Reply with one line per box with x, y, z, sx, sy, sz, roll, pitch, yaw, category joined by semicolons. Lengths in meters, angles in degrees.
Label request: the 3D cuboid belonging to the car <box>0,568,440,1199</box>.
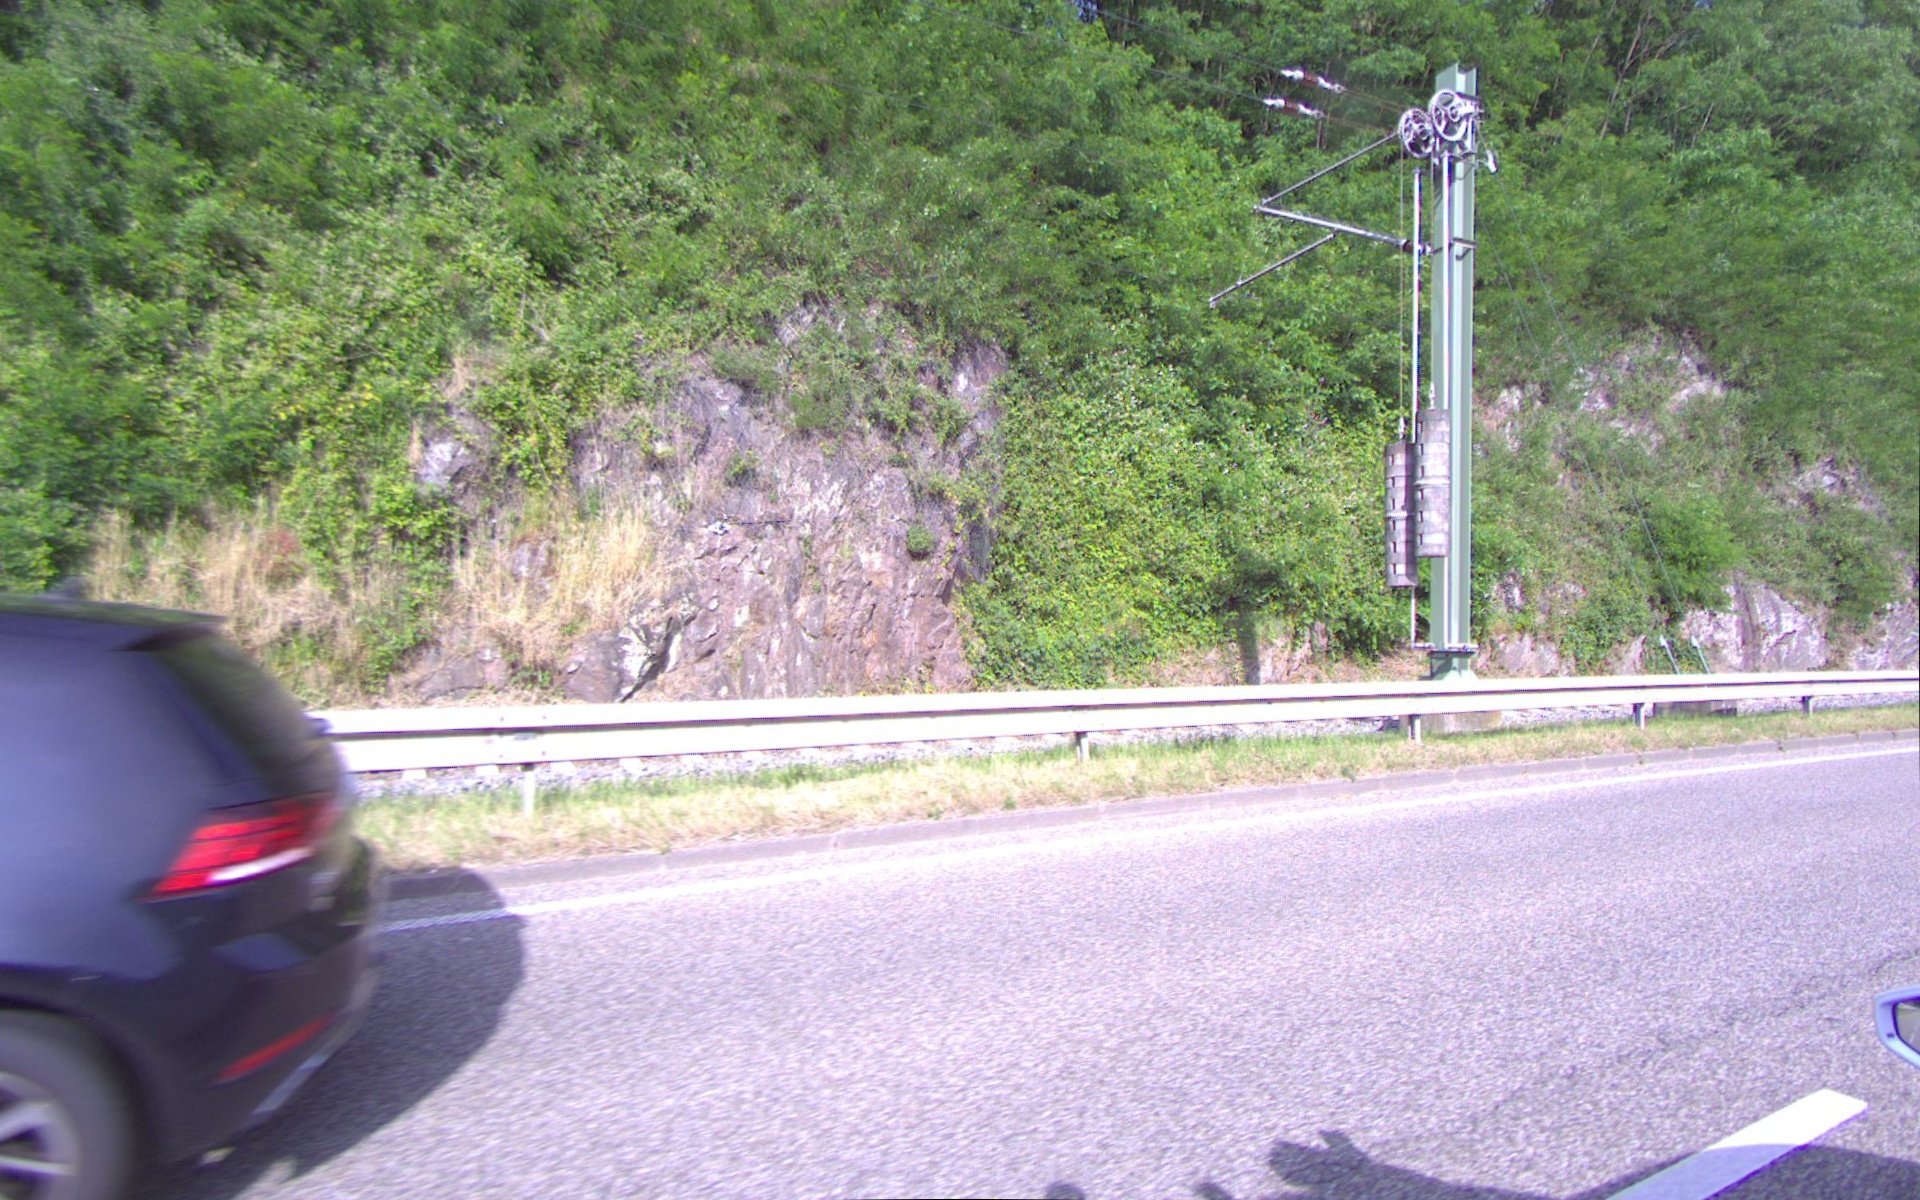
-3.290;0.649;2.070;3.852;1.459;1.838;1;-1;-31;car
